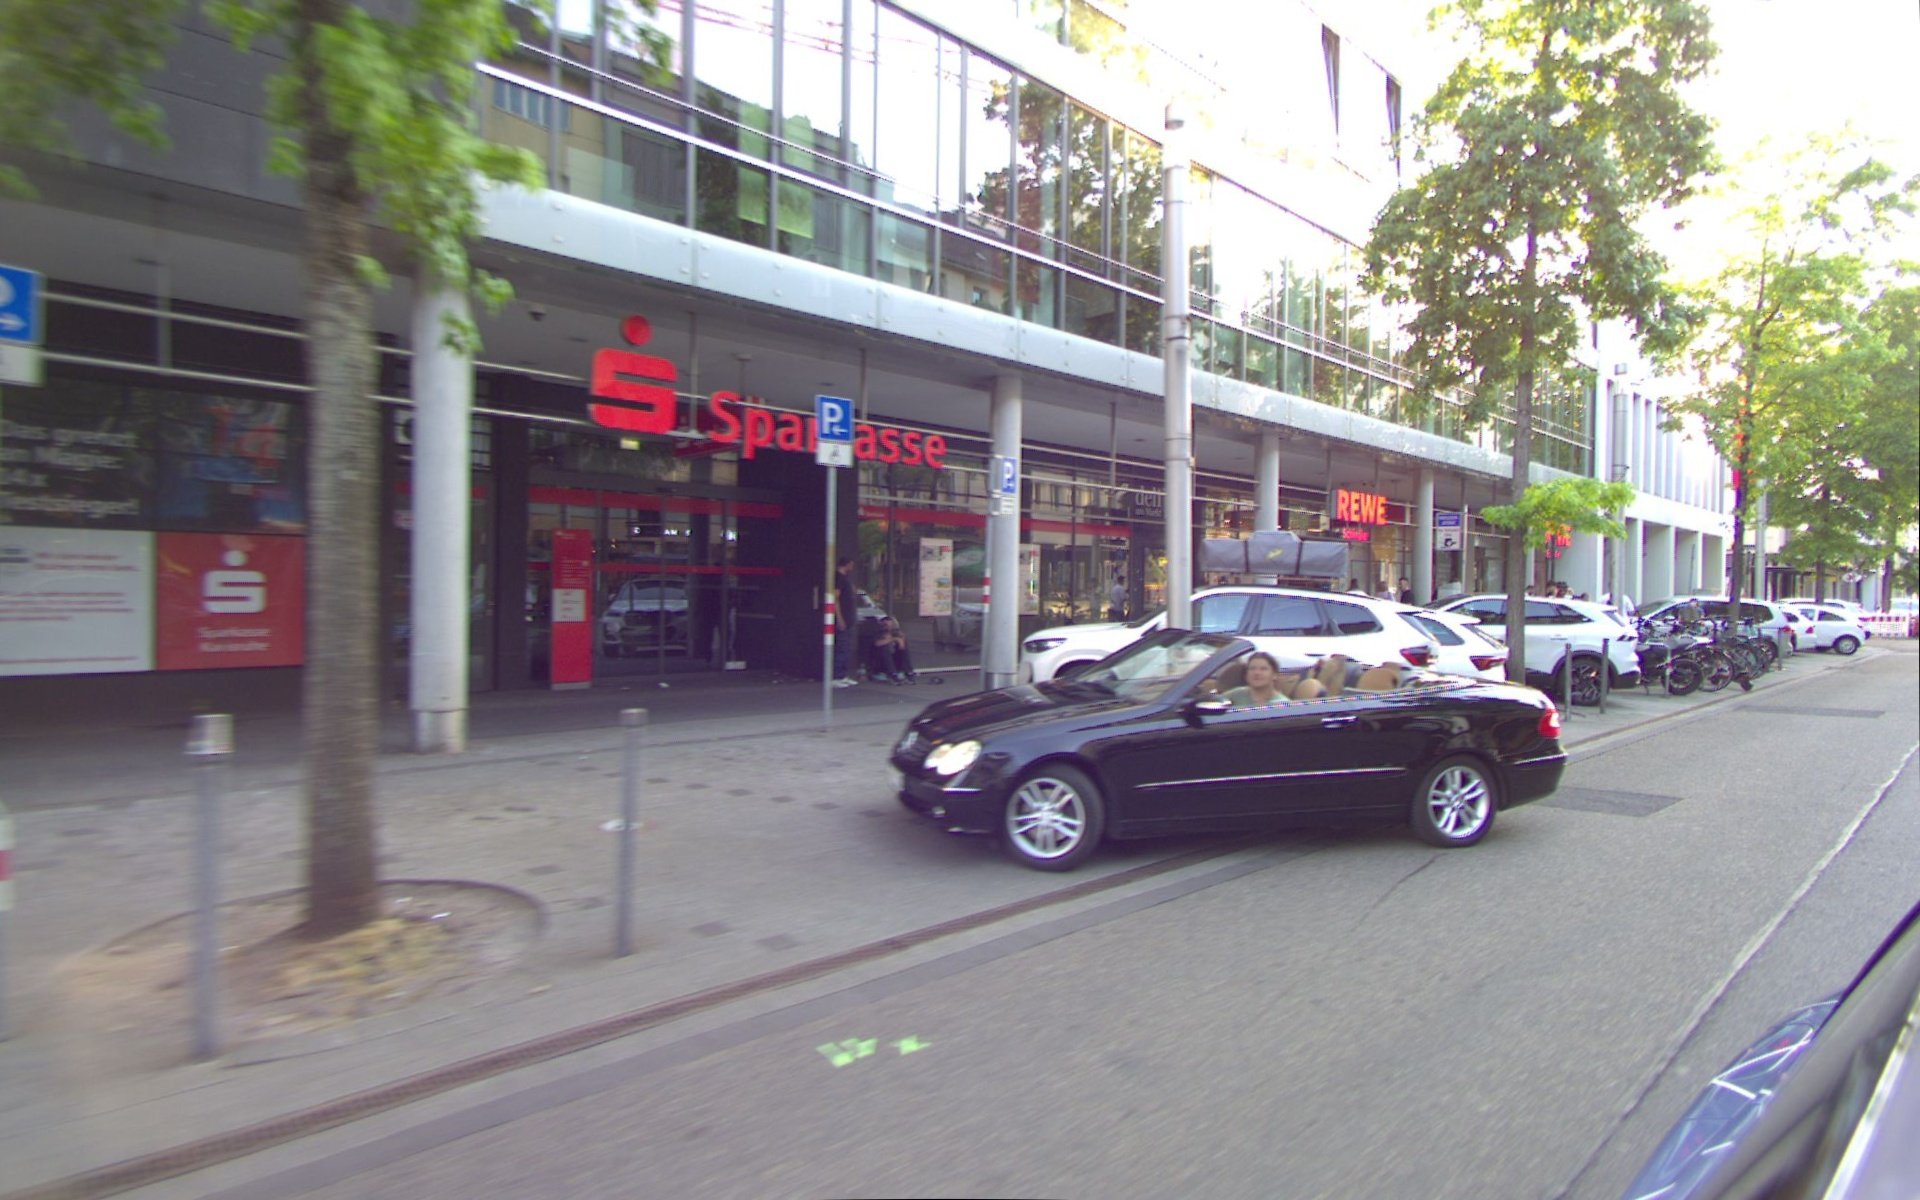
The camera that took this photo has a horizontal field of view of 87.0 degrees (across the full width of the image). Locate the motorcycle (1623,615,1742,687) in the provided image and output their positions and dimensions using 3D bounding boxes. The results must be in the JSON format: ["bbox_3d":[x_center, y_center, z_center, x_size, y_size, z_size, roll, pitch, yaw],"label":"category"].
[{"bbox_3d":[12.721,0.885,17.873,1.554,1.113,0.624,3,2,24],"label":"motorcycle"}]

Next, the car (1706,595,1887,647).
[{"bbox_3d":[26.411,0.671,32.112,3.948,1.530,1.853,-2,-1,19],"label":"car"}]

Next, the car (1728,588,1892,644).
[{"bbox_3d":[29.644,0.573,35.451,3.956,1.809,1.849,-2,-1,25],"label":"car"}]

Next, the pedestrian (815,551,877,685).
[{"bbox_3d":[-1.567,0.228,13.889,0.617,1.794,0.557,0,2,-42],"label":"pedestrian"}]

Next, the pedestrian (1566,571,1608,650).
[{"bbox_3d":[13.913,0.217,22.457,0.617,1.712,0.617,0,2,-42],"label":"pedestrian"}]

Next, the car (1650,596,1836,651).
[{"bbox_3d":[23.336,0.702,30.332,3.948,1.530,1.789,-2,-1,19],"label":"car"}]

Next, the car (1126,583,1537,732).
[{"bbox_3d":[4.626,0.614,13.056,4.583,1.457,1.905,3,2,22],"label":"car"}]

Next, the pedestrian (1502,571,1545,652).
[{"bbox_3d":[12.218,0.228,21.959,0.617,1.712,0.617,0,2,-42],"label":"pedestrian"}]

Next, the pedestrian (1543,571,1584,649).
[{"bbox_3d":[13.586,0.214,22.787,0.617,1.712,0.617,0,2,-42],"label":"pedestrian"}]

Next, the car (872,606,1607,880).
[{"bbox_3d":[1.760,0.777,6.843,4.469,1.426,1.803,0,0,-14],"label":"car"}]

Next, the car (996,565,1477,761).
[{"bbox_3d":[2.862,0.566,11.043,4.574,1.650,1.908,3,0,17],"label":"car"}]

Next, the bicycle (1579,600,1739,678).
[{"bbox_3d":[13.693,0.772,19.909,2.461,1.475,0.652,-1,-1,24],"label":"bicycle"}]

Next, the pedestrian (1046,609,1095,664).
[{"bbox_3d":[1.905,0.616,17.401,0.549,0.892,0.627,0,2,-42],"label":"pedestrian"}]

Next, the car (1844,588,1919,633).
[{"bbox_3d":[40.049,0.412,42.770,3.919,1.809,1.867,-1,-1,-7],"label":"car"}]

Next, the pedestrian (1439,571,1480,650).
[{"bbox_3d":[11.203,0.223,22.704,0.617,1.712,0.617,0,2,-42],"label":"pedestrian"}]

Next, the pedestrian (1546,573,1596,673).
[{"bbox_3d":[11.407,0.415,18.897,0.617,1.822,0.617,0,2,-42],"label":"pedestrian"}]

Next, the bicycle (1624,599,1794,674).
[{"bbox_3d":[15.297,0.755,20.761,2.642,1.475,0.724,-1,-1,22],"label":"bicycle"}]

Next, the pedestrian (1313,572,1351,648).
[{"bbox_3d":[8.636,0.220,23.492,0.617,1.712,0.557,0,2,-42],"label":"pedestrian"}]

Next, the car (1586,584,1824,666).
[{"bbox_3d":[18.635,0.633,25.535,4.396,1.904,1.794,-2,-1,12],"label":"car"}]

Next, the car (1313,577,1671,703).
[{"bbox_3d":[8.126,0.538,15.971,4.570,1.607,1.910,3,2,14],"label":"car"}]

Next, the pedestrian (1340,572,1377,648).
[{"bbox_3d":[9.273,0.218,23.531,0.617,1.712,0.557,0,2,-42],"label":"pedestrian"}]

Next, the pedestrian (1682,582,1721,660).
[{"bbox_3d":[16.554,0.461,22.585,0.616,1.712,0.618,1,0,43],"label":"pedestrian"}]

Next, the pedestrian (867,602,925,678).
[{"bbox_3d":[-0.929,0.570,14.713,0.625,1.048,0.550,2,2,40],"label":"pedestrian"}]

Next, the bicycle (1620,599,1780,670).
[{"bbox_3d":[15.850,0.741,21.779,2.642,1.475,0.671,-1,-1,23],"label":"bicycle"}]

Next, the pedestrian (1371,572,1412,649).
[{"bbox_3d":[9.776,0.223,22.948,0.617,1.712,0.617,0,2,-42],"label":"pedestrian"}]

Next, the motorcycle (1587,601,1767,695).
[{"bbox_3d":[11.793,0.771,16.712,2.070,1.370,1.157,2,2,0],"label":"motorcycle"}]

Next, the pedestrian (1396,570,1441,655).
[{"bbox_3d":[9.464,0.249,20.893,0.617,1.712,0.617,0,2,-42],"label":"pedestrian"}]
